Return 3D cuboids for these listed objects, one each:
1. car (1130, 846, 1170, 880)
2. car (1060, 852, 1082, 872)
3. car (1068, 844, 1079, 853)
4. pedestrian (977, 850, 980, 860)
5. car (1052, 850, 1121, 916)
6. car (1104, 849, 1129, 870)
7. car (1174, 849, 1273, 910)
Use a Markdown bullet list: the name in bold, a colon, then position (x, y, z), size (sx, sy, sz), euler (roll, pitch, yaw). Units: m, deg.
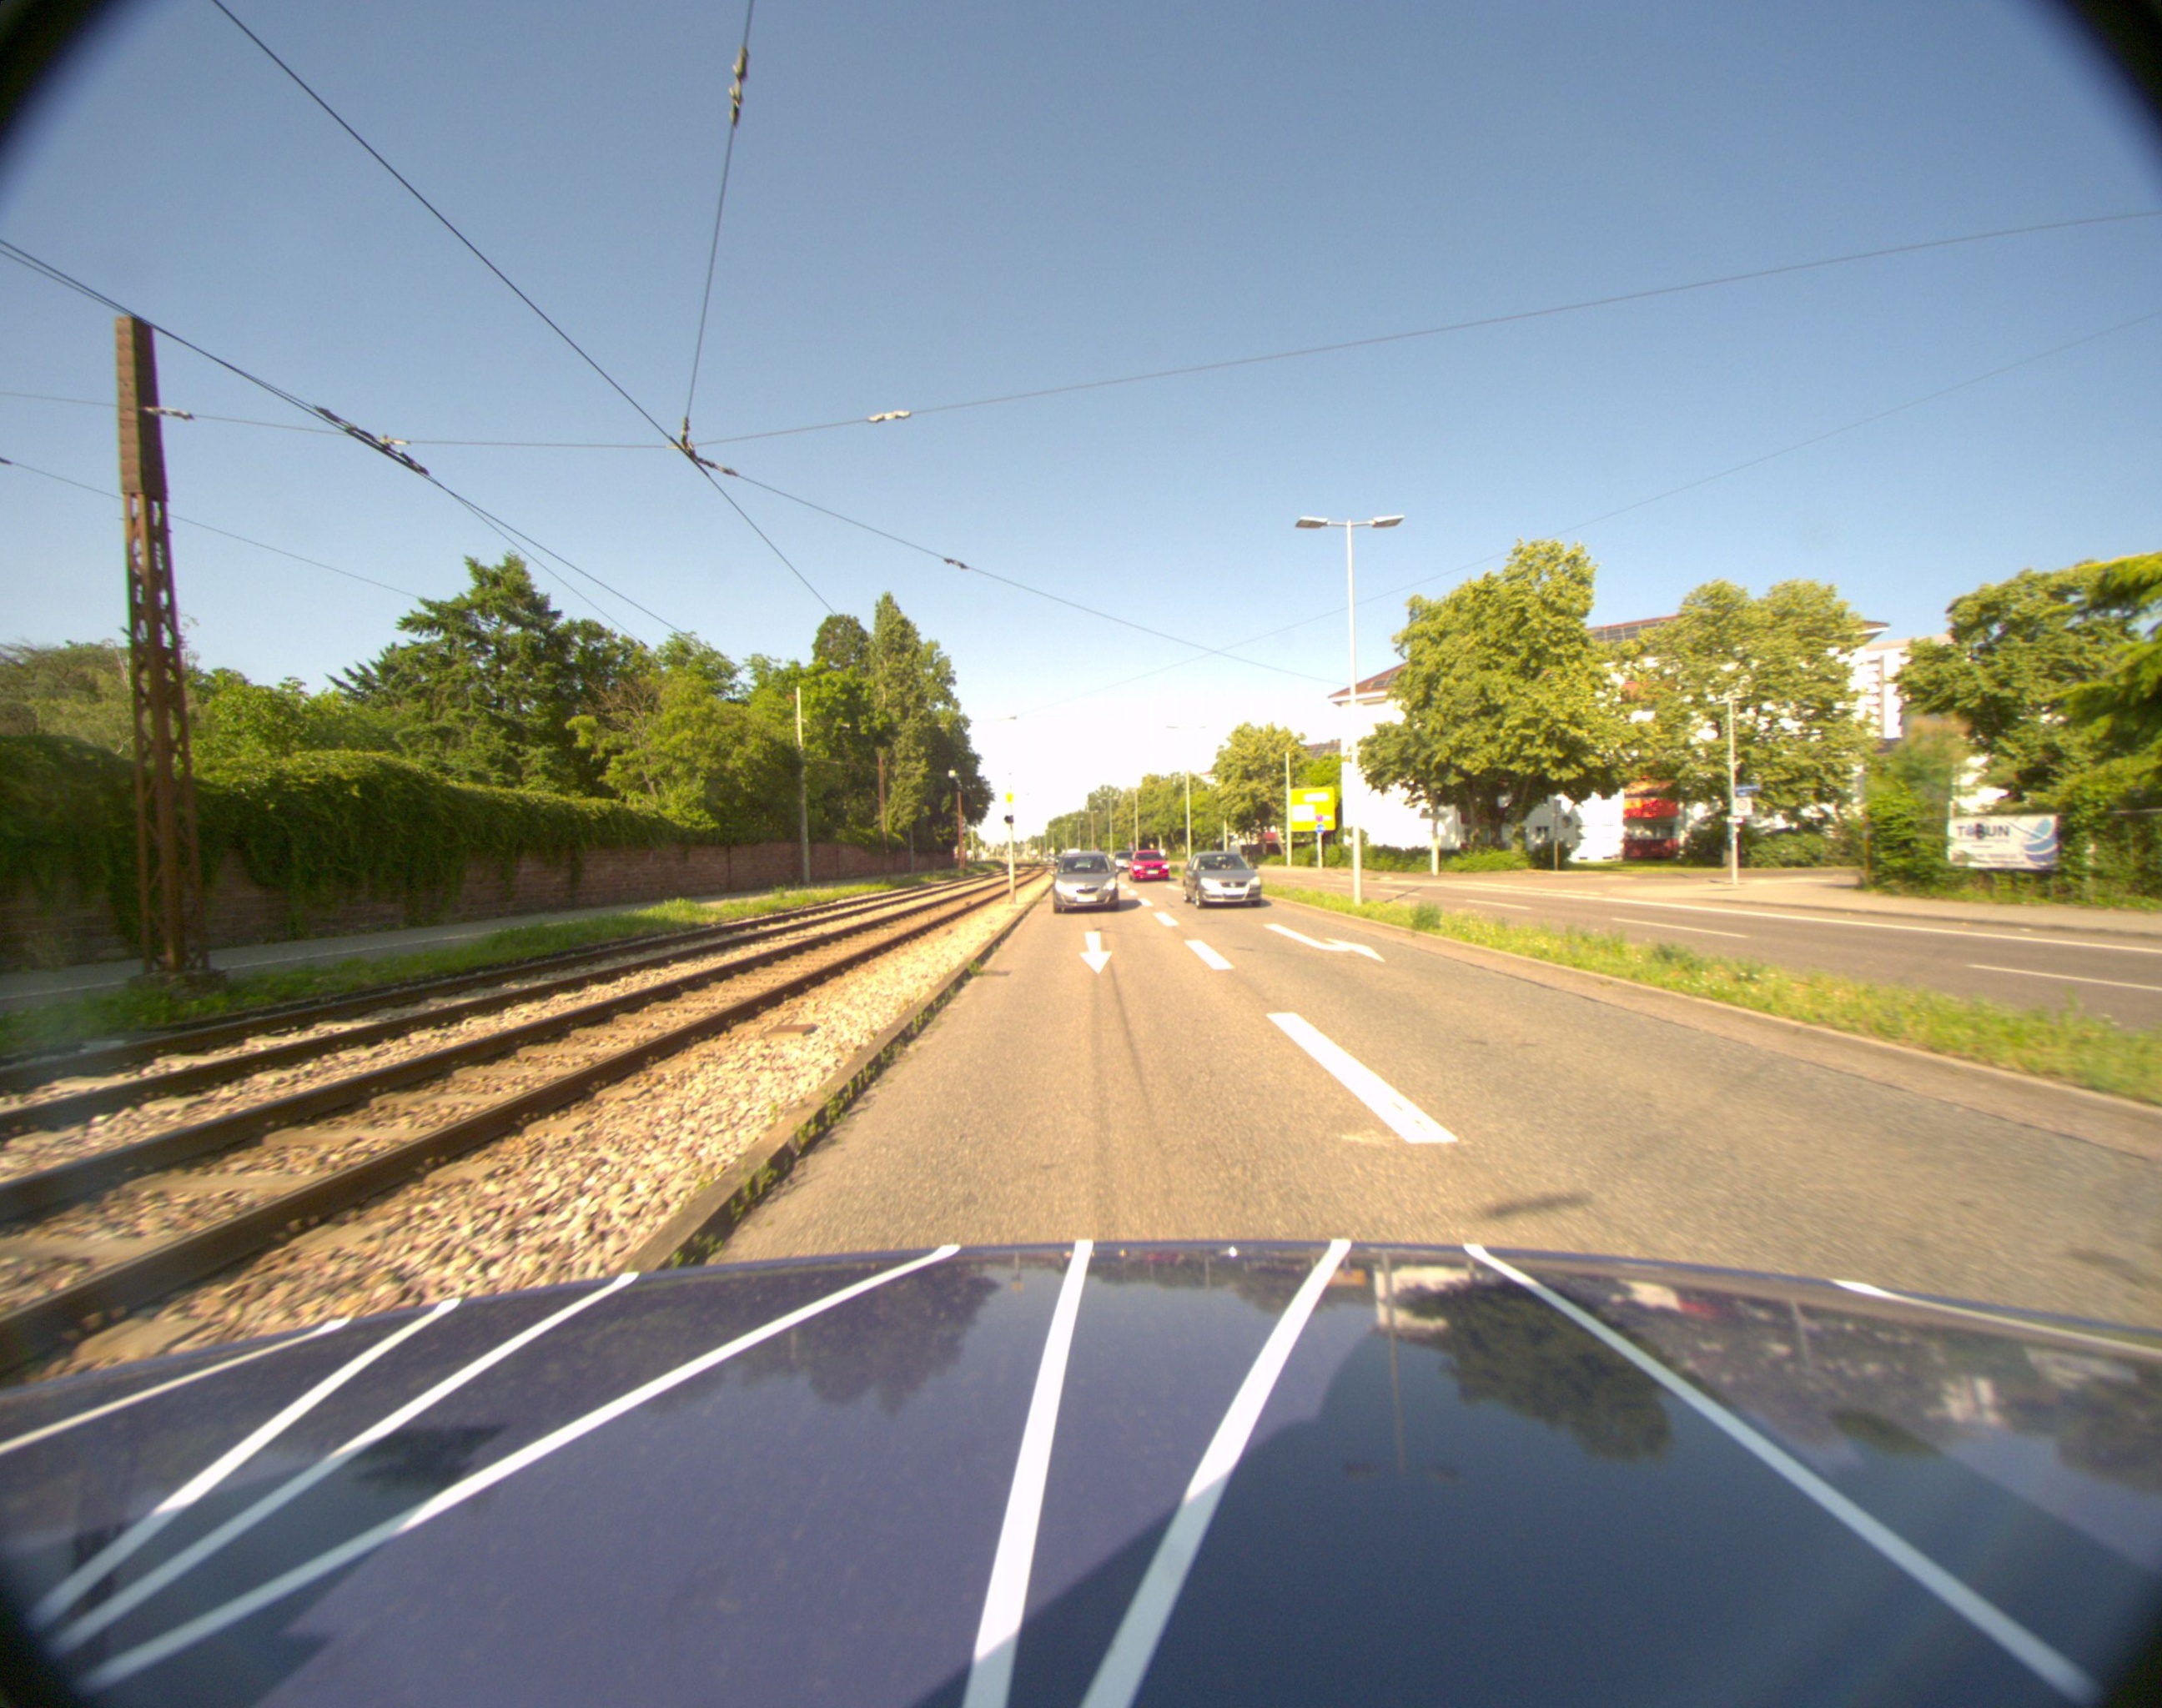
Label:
- **car**: position (3.536, 0.435, 39.550), size (1.692, 1.573, 3.832), euler (-3, 1, 0)
- **car**: position (-0.780, 0.601, 62.619), size (1.710, 1.513, 3.832), euler (-3, 1, 0)
- **car**: position (-1.392, -1.001, 138.177), size (1.710, 1.513, 3.832), euler (-3, 1, -3)
- **pedestrian**: position (-18.408, 0.156, 136.534), size (0.501, 1.706, 0.885), euler (-1, 1, 1)
- **car**: position (0.146, 0.709, 20.954), size (1.650, 1.581, 3.832), euler (-3, 1, 0)
- **car**: position (2.797, 0.437, 60.081), size (1.710, 1.513, 3.832), euler (-3, 1, 0)
- **car**: position (3.750, 0.625, 20.617), size (1.693, 1.420, 3.831), euler (-3, 0, -4)
